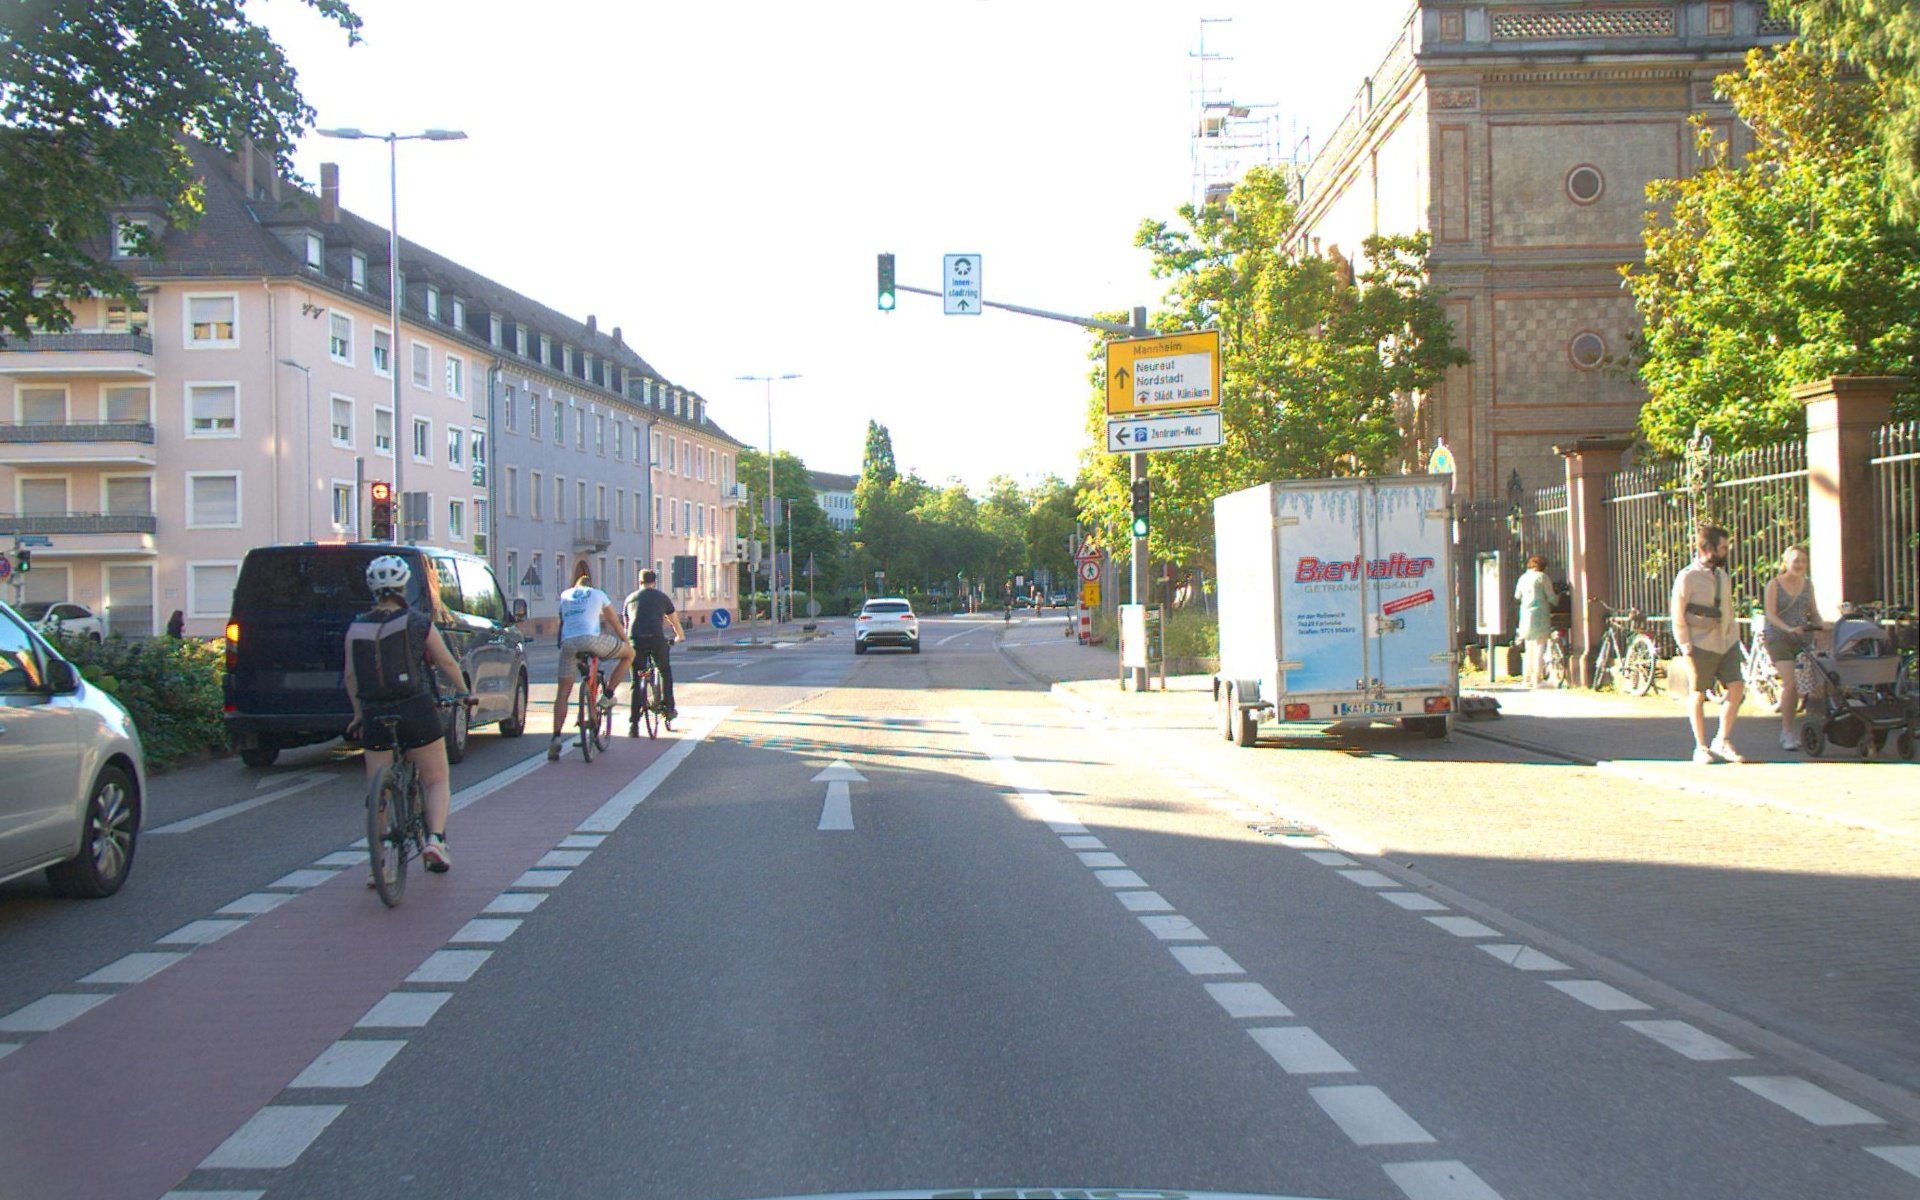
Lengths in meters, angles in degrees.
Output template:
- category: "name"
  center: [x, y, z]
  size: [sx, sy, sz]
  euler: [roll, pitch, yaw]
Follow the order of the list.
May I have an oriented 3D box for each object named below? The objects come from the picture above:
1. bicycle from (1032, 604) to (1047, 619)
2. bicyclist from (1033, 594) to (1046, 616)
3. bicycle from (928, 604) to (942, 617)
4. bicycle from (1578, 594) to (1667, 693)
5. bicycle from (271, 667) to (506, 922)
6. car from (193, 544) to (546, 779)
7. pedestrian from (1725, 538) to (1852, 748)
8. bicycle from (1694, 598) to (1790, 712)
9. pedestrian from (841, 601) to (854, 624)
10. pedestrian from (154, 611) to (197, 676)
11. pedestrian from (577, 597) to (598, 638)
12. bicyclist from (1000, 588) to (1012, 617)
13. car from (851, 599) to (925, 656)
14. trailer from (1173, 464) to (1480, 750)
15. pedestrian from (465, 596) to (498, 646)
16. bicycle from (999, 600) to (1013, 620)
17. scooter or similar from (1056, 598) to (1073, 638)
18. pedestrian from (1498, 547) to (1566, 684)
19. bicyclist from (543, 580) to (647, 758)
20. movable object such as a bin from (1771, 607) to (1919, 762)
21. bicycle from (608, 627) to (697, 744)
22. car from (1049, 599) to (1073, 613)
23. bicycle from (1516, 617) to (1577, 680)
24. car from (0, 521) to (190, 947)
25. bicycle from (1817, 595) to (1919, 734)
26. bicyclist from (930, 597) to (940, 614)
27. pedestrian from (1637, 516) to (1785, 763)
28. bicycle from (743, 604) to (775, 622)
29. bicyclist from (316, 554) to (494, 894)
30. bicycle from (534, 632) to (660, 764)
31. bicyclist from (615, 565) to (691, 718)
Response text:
- category: "bicycle"
  center: [5.697, 0.801, 118.315]
  size: [0.737, 1.044, 1.871]
  euler: [0, -1, 12]
- category: "bicyclist"
  center: [5.682, 0.335, 118.332]
  size: [0.731, 1.564, 0.970]
  euler: [0, 0, 12]
- category: "bicycle"
  center: [-2.209, 0.913, 146.315]
  size: [0.721, 1.013, 2.111]
  euler: [-2, 1, 12]
- category: "bicycle"
  center: [8.035, 0.501, 20.111]
  size: [0.390, 1.125, 1.681]
  euler: [-3, 0, 1]
- category: "bicycle"
  center: [-2.868, 0.929, 8.487]
  size: [0.655, 1.091, 1.752]
  euler: [0, 0, -2]
- category: "car"
  center: [-5.665, 0.536, 16.642]
  size: [2.027, 1.949, 5.029]
  euler: [-1, 0, -4]
- category: "pedestrian"
  center: [7.079, 0.354, 14.153]
  size: [0.669, 1.731, 0.693]
  euler: [-2, 0, -4]
- category: "bicycle"
  center: [8.195, 0.548, 17.383]
  size: [0.268, 1.125, 1.532]
  euler: [-3, 0, 1]
- category: "pedestrian"
  center: [-9.292, 1.026, 136.466]
  size: [0.837, 1.884, 1.002]
  euler: [-2, 0, 11]
- category: "pedestrian"
  center: [-19.901, 1.094, 41.962]
  size: [0.618, 1.611, 0.818]
  euler: [2, 0, 4]
- category: "pedestrian"
  center: [-17.303, 0.793, 76.853]
  size: [0.618, 1.878, 1.014]
  euler: [2, 0, 4]
- category: "bicyclist"
  center: [2.569, 0.135, 92.284]
  size: [0.622, 1.642, 1.285]
  euler: [0, 0, 6]
- category: "car"
  center: [-1.996, 0.738, 46.702]
  size: [1.953, 1.478, 3.999]
  euler: [-2, 0, -2]
- category: "trailer"
  center: [3.720, 0.047, 17.725]
  size: [2.038, 2.572, 4.490]
  euler: [-3, 0, -2]
- category: "pedestrian"
  center: [-18.366, 0.791, 63.471]
  size: [0.849, 1.896, 1.015]
  euler: [1, 0, 6]
- category: "bicycle"
  center: [2.583, 0.547, 92.426]
  size: [0.629, 1.042, 2.214]
  euler: [0, 0, 6]
- category: "scooter or similar"
  center: [3.609, 0.598, 56.874]
  size: [0.543, 1.331, 1.833]
  euler: [-1, 0, 4]
- category: "pedestrian"
  center: [7.653, 0.201, 22.151]
  size: [0.626, 1.799, 0.737]
  euler: [-1, 0, -1]
- category: "bicyclist"
  center: [-3.484, 0.641, 15.837]
  size: [0.786, 1.636, 0.825]
  euler: [-1, 0, -1]
- category: "movable object such as a bin"
  center: [7.159, 0.648, 13.251]
  size: [0.697, 1.137, 1.049]
  euler: [-3, 1, -5]
- category: "bicycle"
  center: [-3.377, 0.911, 18.328]
  size: [0.629, 1.175, 2.076]
  euler: [0, 0, -1]
- category: "car"
  center: [11.614, 0.675, 189.539]
  size: [1.773, 1.444, 4.558]
  euler: [-1, 0, 16]
- category: "bicycle"
  center: [8.075, 0.652, 22.793]
  size: [0.259, 0.807, 1.450]
  euler: [-1, 0, -2]
- category: "car"
  center: [-4.975, 0.582, 6.646]
  size: [1.953, 1.780, 4.741]
  euler: [-1, 0, -6]
- category: "bicycle"
  center: [8.162, 0.536, 14.301]
  size: [0.387, 1.150, 1.927]
  euler: [-1, 0, -3]
- category: "bicyclist"
  center: [-2.217, 0.470, 146.397]
  size: [0.722, 1.511, 0.665]
  euler: [-3, 0, 12]
- category: "pedestrian"
  center: [6.139, 0.307, 13.556]
  size: [0.701, 1.927, 0.888]
  euler: [-2, 0, -6]
- category: "bicycle"
  center: [-14.691, 0.946, 120.958]
  size: [2.270, 1.251, 0.561]
  euler: [-1, 0, 11]
- category: "bicyclist"
  center: [-2.878, 0.613, 8.650]
  size: [0.659, 1.681, 0.887]
  euler: [0, 0, -3]
- category: "bicycle"
  center: [-3.485, 0.912, 16.050]
  size: [0.812, 1.163, 1.969]
  euler: [0, 0, -1]
- category: "bicyclist"
  center: [-3.387, 0.447, 18.287]
  size: [0.656, 1.636, 0.825]
  euler: [-1, 0, -1]
